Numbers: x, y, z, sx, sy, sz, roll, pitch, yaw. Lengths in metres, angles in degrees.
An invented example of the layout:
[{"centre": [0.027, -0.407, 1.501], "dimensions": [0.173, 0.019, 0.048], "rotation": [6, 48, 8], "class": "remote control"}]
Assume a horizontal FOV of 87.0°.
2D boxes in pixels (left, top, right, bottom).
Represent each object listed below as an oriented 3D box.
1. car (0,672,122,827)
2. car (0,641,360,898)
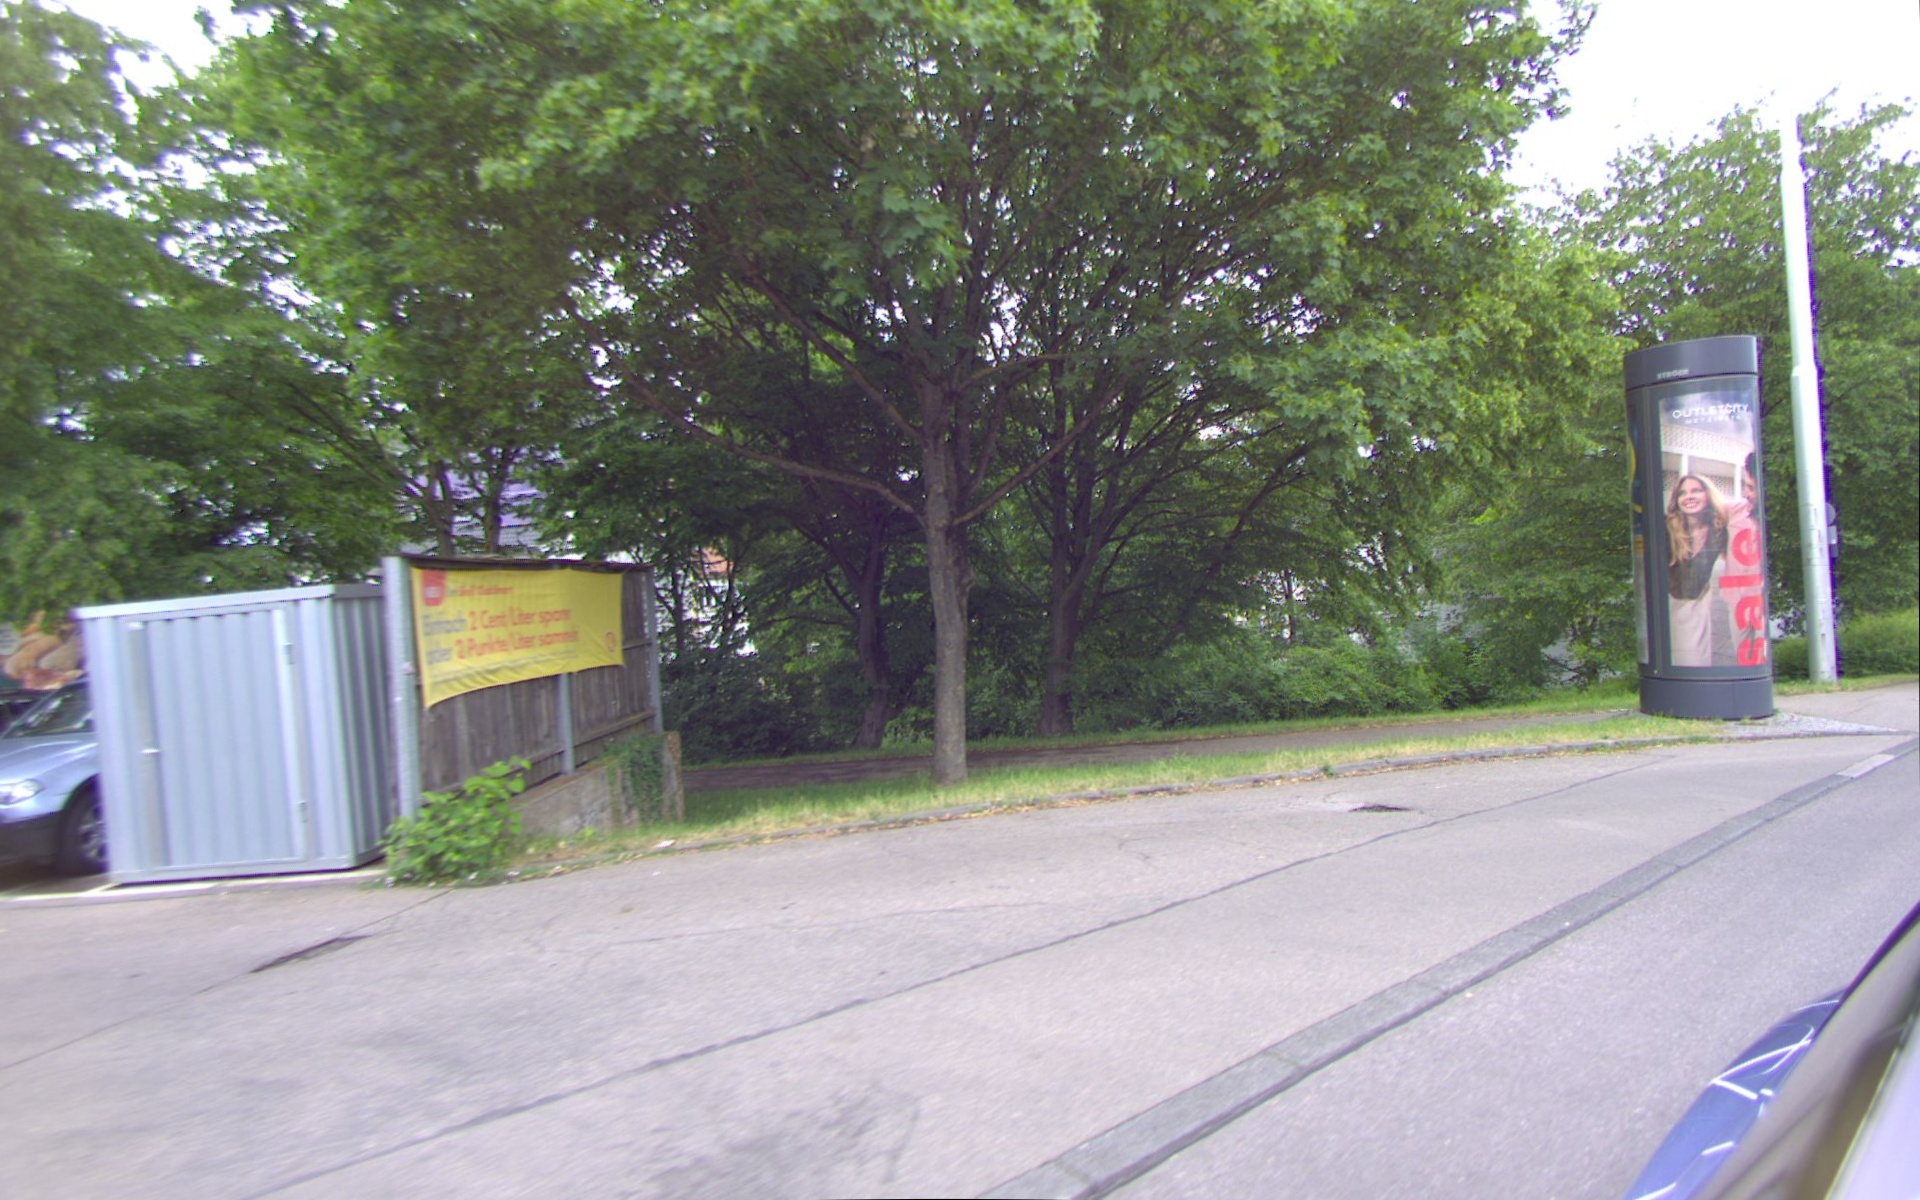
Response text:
[{"centre": [-10.782, 1.705, 9.733], "dimensions": [1.703, 1.444, 4.293], "rotation": [-4, 2, 2], "class": "car"}, {"centre": [-7.969, 1.424, 9.776], "dimensions": [1.702, 1.610, 4.295], "rotation": [-5, 2, 0], "class": "car"}]
